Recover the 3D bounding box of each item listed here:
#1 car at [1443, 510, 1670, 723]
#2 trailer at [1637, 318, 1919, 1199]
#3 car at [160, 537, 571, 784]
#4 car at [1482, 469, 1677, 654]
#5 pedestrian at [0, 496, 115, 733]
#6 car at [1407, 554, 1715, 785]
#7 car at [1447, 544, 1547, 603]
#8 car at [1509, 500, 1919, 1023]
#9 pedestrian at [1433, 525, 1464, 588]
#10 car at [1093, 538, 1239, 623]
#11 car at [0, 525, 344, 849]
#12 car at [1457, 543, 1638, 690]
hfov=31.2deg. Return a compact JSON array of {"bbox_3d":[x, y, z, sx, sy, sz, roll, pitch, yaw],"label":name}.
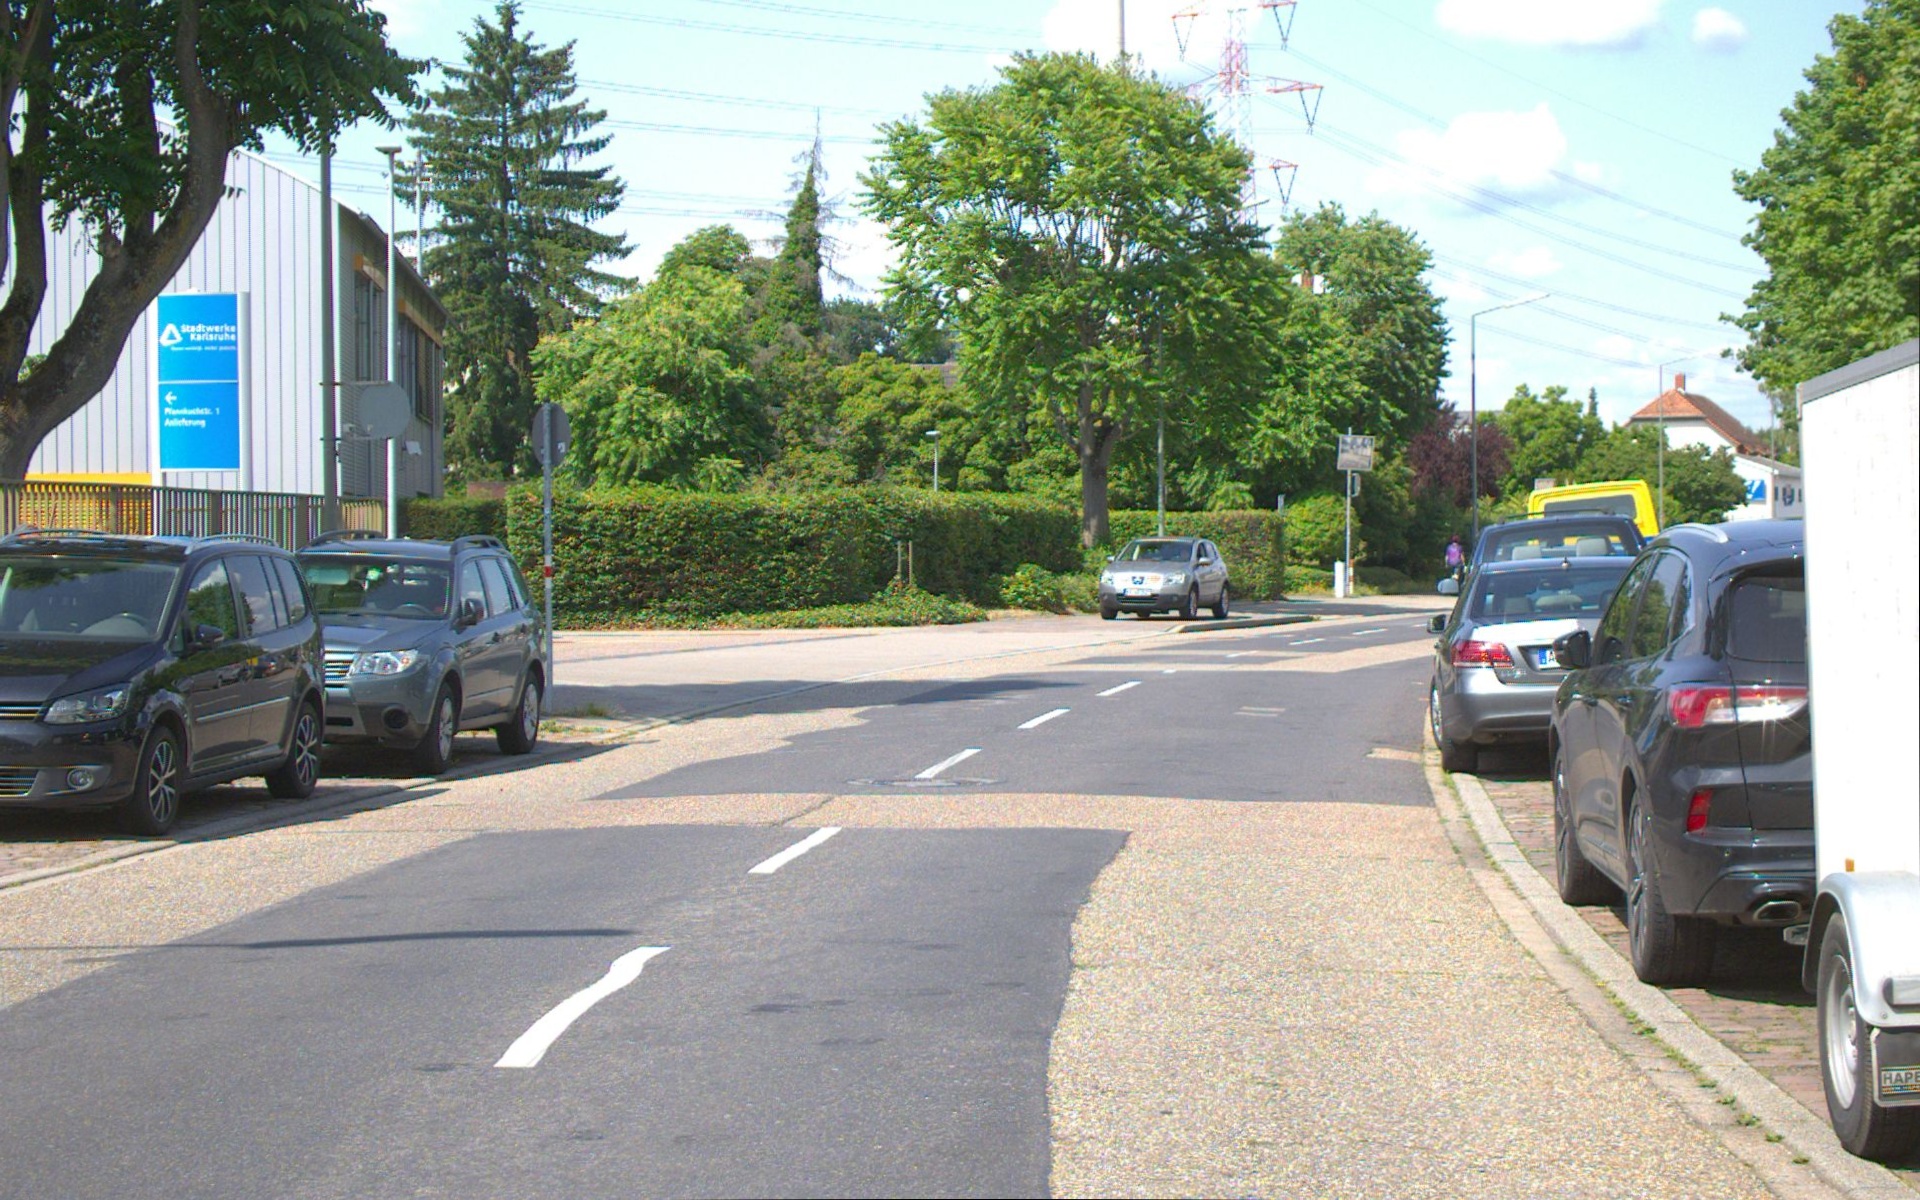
[{"bbox_3d":[5.516,0.113,32.038,1.850,1.759,5.076,-2,0,9],"label":"car"},{"bbox_3d":[3.049,0.351,9.265,1.745,2.060,3.947,-3,1,3],"label":"trailer"},{"bbox_3d":[-4.325,0.377,25.779,1.799,1.645,4.689,1,1,6],"label":"car"},{"bbox_3d":[9.097,-0.547,50.026,2.158,2.456,6.635,-1,0,15],"label":"car"},{"bbox_3d":[-7.017,0.098,26.129,0.828,1.755,0.845,2,1,13],"label":"pedestrian"},{"bbox_3d":[4.258,0.428,24.982,1.842,1.455,4.867,-2,1,6],"label":"car"},{"bbox_3d":[14.712,-0.735,94.038,1.847,1.503,3.996,3,2,21],"label":"car"},{"bbox_3d":[3.342,0.476,13.561,1.861,1.677,4.710,-2,1,4],"label":"car"},{"bbox_3d":[14.189,-1.260,99.853,0.709,1.795,0.915,0,0,21],"label":"pedestrian"},{"bbox_3d":[4.006,-0.390,66.200,1.759,1.568,4.473,1,1,18],"label":"car"},{"bbox_3d":[-5.083,0.414,20.137,1.776,1.676,4.229,1,1,6],"label":"car"},{"bbox_3d":[6.508,0.143,38.377,1.833,1.487,4.654,-2,0,9],"label":"car"}]
